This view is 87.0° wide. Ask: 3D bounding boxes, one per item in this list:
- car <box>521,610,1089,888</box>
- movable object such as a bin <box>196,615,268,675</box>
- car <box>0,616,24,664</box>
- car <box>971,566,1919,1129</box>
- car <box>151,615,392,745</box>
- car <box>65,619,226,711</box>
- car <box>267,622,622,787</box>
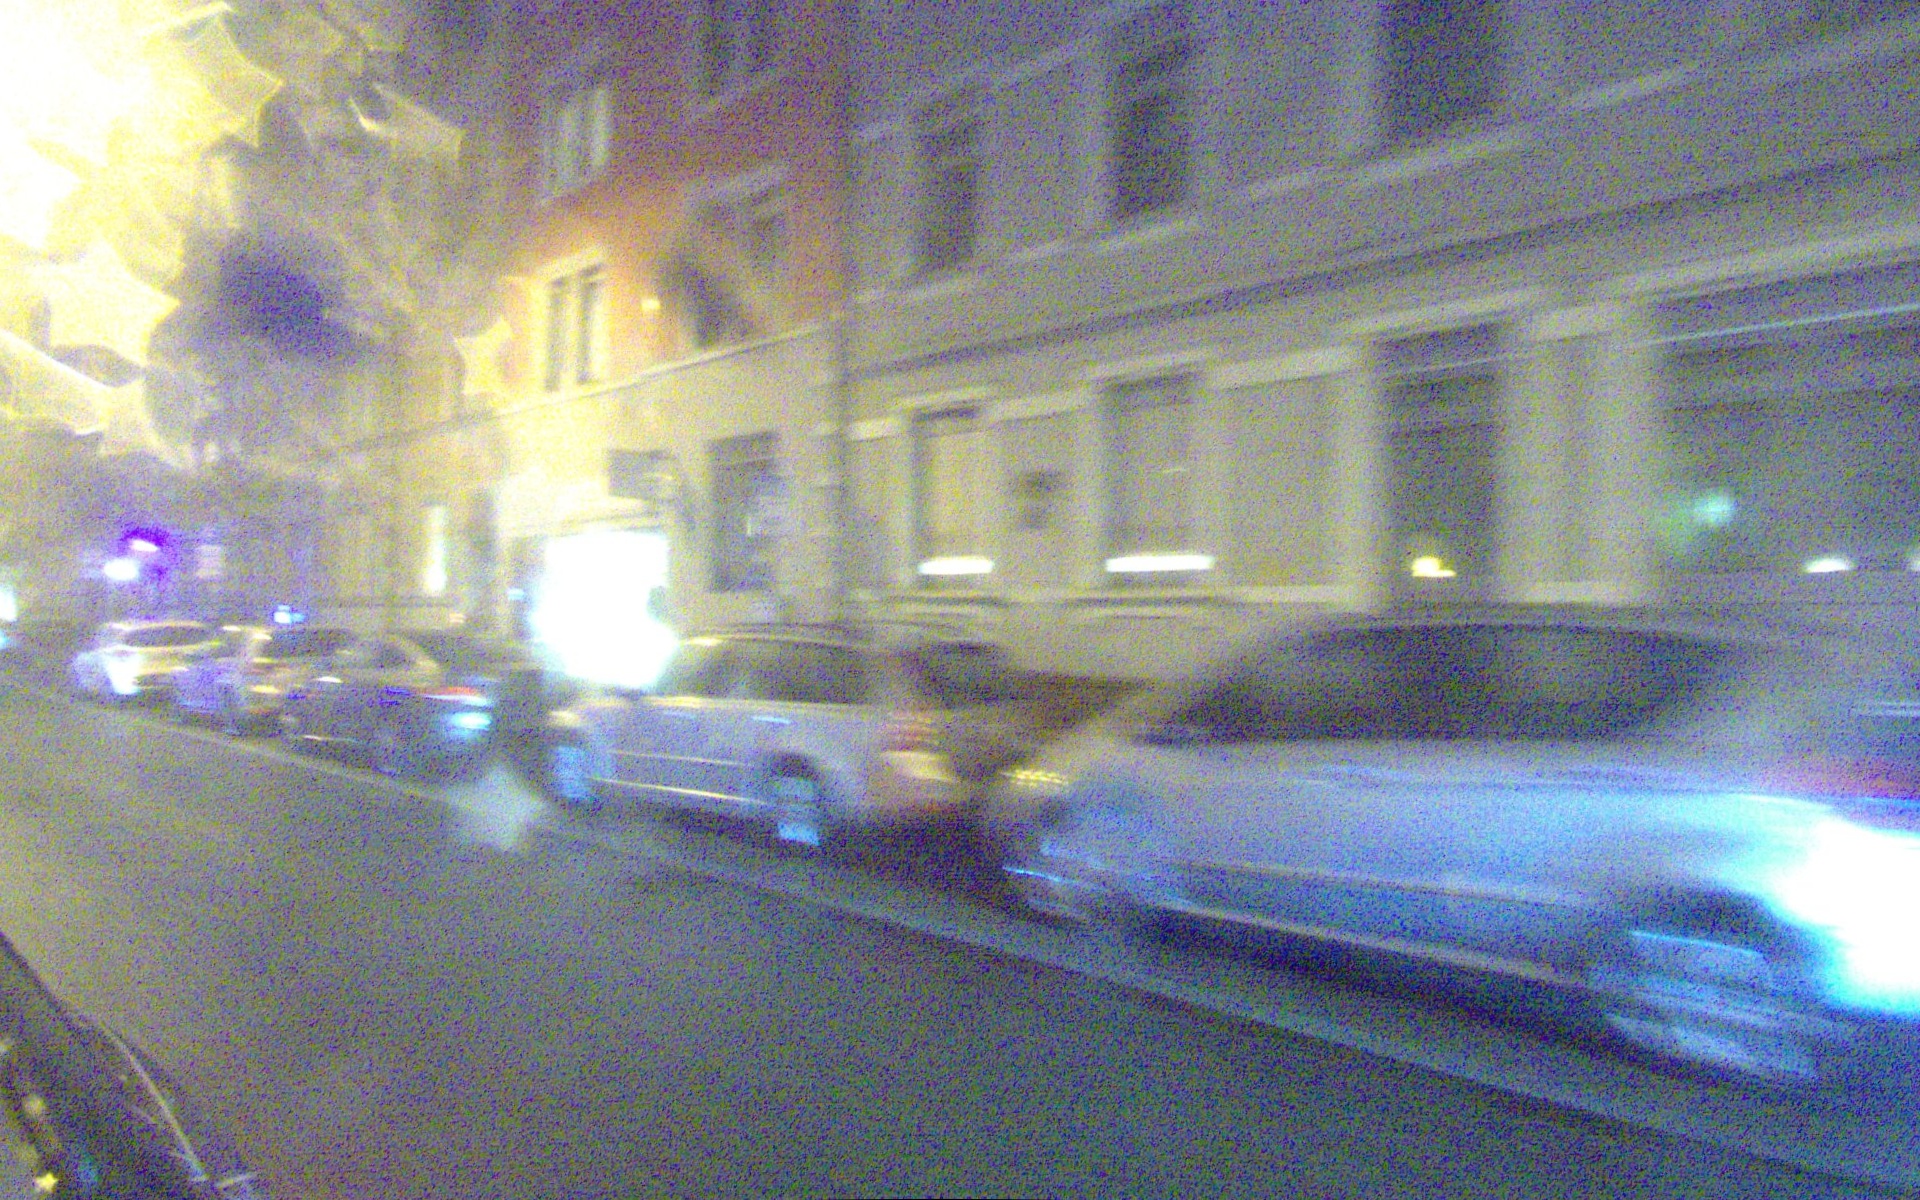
[{"bbox_3d":[-1.343,0.840,7.541,4.303,1.492,1.814,-1,-2,40],"label":"car"},{"bbox_3d":[-18.508,1.129,25.728,1.377,1.465,1.091,-1,-3,38],"label":"movable object such as a bin"},{"bbox_3d":[-32.708,1.332,33.671,4.769,1.494,1.749,-1,1,41],"label":"car"},{"bbox_3d":[2.040,0.737,4.613,3.762,1.600,1.727,-1,-2,40],"label":"car"},{"bbox_3d":[-9.860,1.019,14.392,4.131,1.584,1.756,-1,-2,40],"label":"car"},{"bbox_3d":[-15.166,1.121,18.789,3.718,1.502,1.655,-1,-1,40],"label":"car"},{"bbox_3d":[-5.648,0.948,10.843,4.422,1.400,1.804,-1,-2,40],"label":"car"}]
